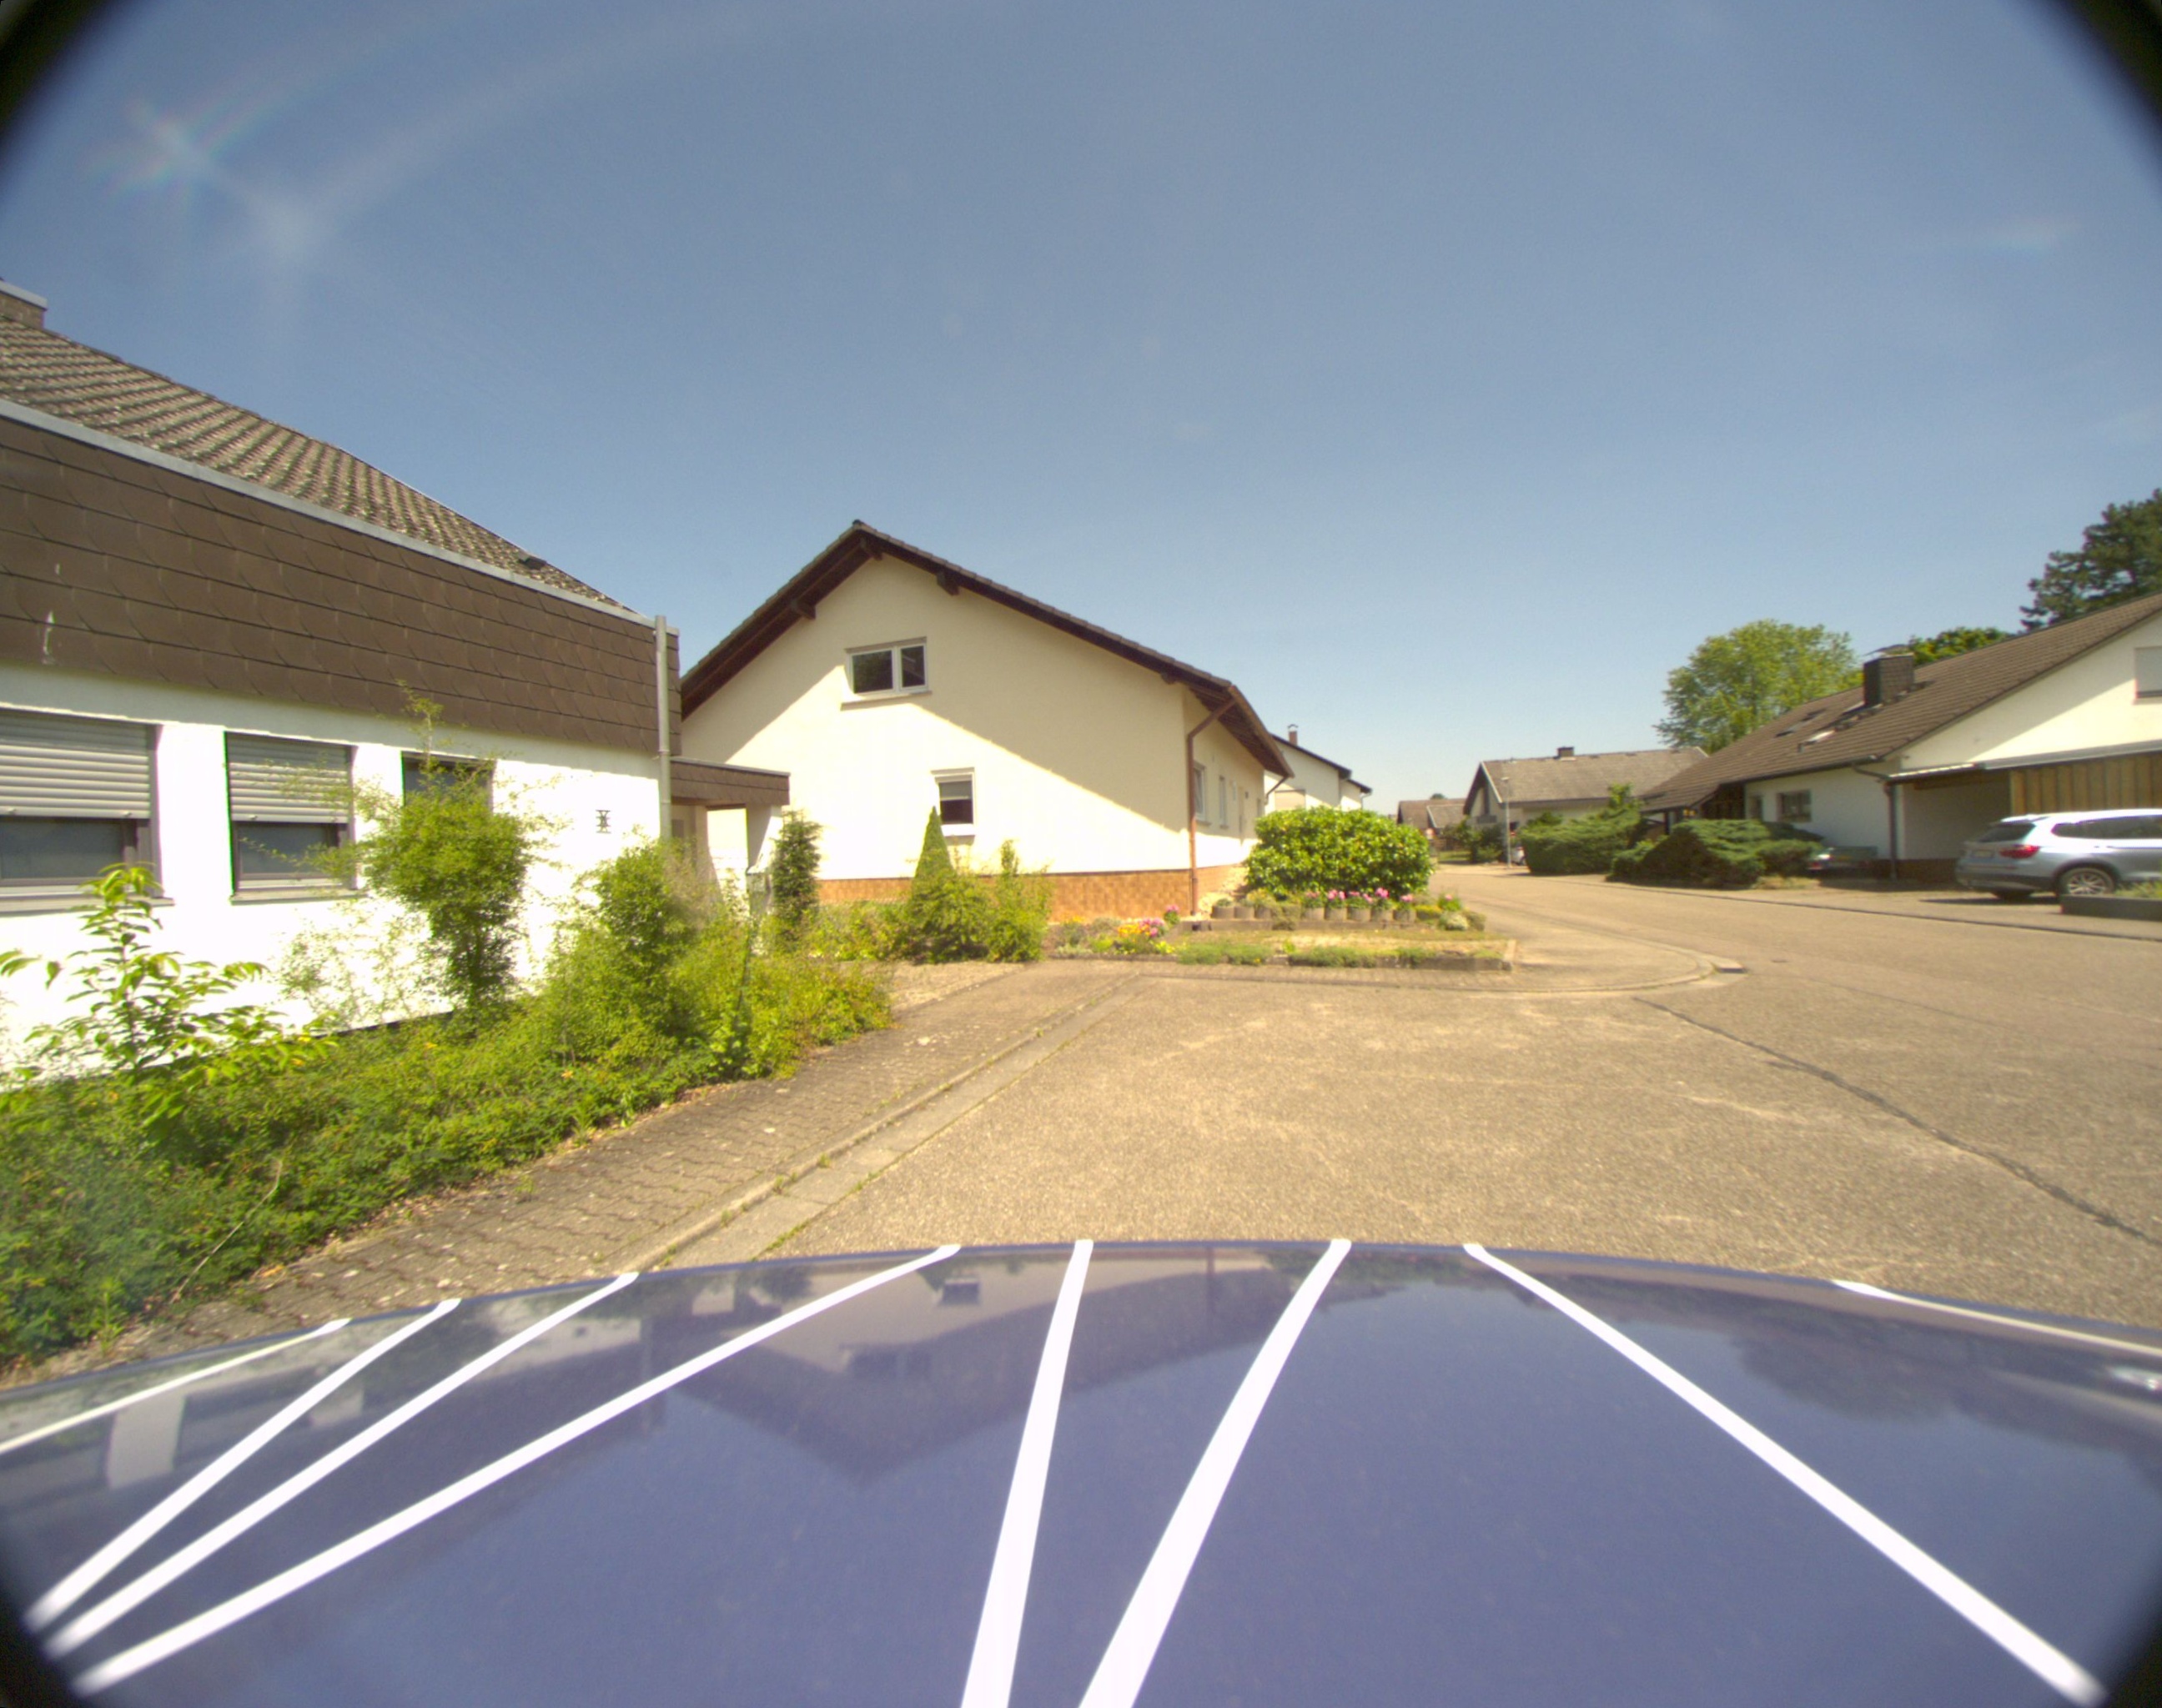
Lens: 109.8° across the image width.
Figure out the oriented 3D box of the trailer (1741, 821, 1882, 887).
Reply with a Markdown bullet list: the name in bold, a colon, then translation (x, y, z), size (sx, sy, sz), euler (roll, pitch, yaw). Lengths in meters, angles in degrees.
- **trailer**: translation (20.728, -0.031, 21.736), size (1.589, 1.662, 3.300), euler (-4, 0, 19)

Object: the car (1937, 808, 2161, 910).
- **car**: translation (19.610, 0.038, 14.092), size (4.633, 1.692, 1.712), euler (-4, 0, 21)
